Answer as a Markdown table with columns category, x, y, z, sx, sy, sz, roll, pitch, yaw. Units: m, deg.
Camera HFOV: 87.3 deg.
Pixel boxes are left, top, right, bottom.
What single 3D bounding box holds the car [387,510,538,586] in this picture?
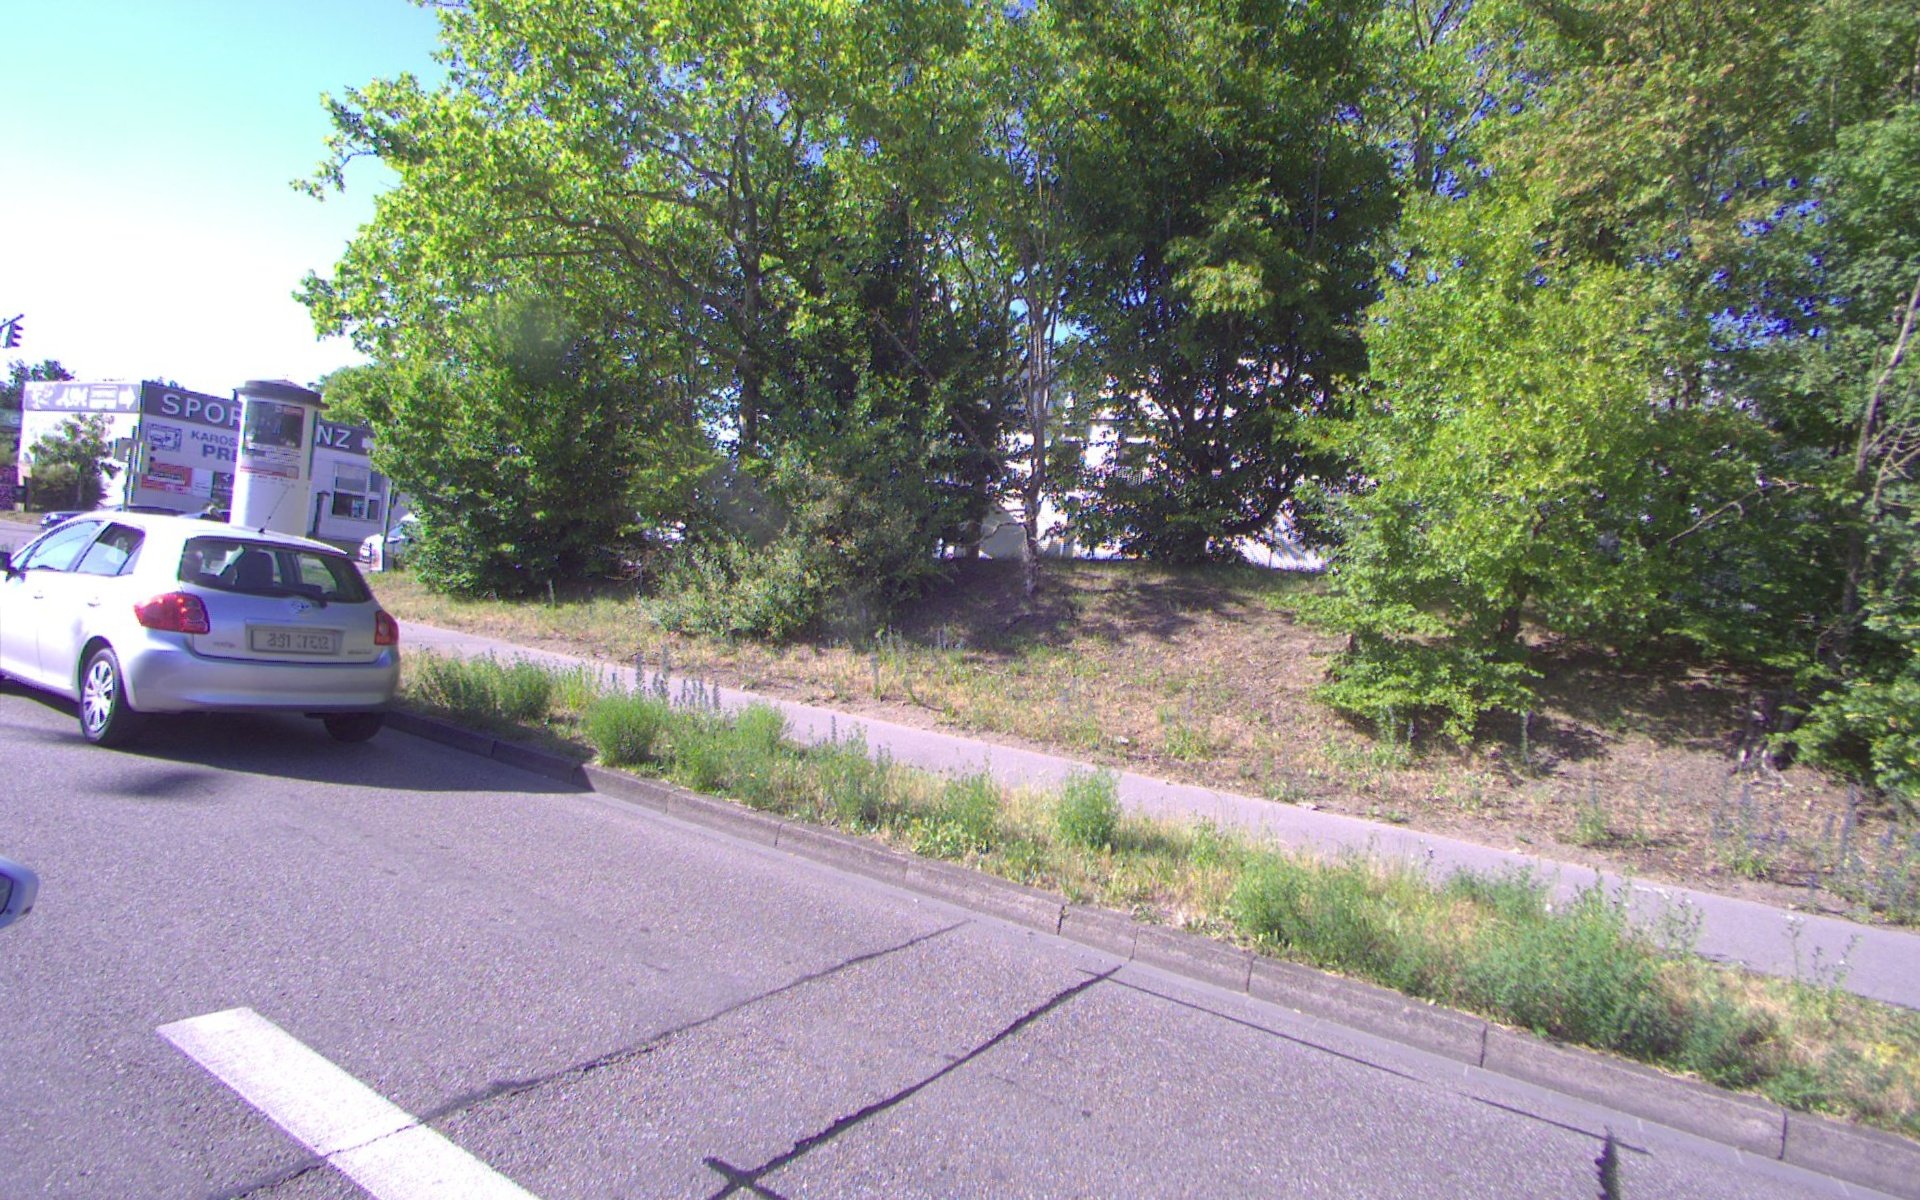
| category | x | y | z | sx | sy | sz | roll | pitch | yaw |
| --- | --- | --- | --- | --- | --- | --- | --- | --- | --- |
| car | -22.590 | -2.312 | 45.931 | 1.967 | 2.706 | 5.840 | 6 | 0 | 32 |

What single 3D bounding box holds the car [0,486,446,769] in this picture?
| category | x | y | z | sx | sy | sz | roll | pitch | yaw |
| --- | --- | --- | --- | --- | --- | --- | --- | --- | --- |
| car | -6.060 | 0.100 | 7.728 | 4.039 | 1.555 | 1.787 | 7 | -2 | 32 |

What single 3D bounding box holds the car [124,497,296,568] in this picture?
| category | x | y | z | sx | sy | sz | roll | pitch | yaw |
| --- | --- | --- | --- | --- | --- | --- | --- | --- | --- |
| car | -25.608 | -2.258 | 34.515 | 1.611 | 1.668 | 4.316 | 6 | -2 | 31 |

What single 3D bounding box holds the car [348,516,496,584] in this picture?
| category | x | y | z | sx | sy | sz | roll | pitch | yaw |
| --- | --- | --- | --- | --- | --- | --- | --- | --- | --- |
| car | -21.777 | -1.987 | 40.945 | 1.849 | 2.060 | 4.962 | 7 | -1 | 30 |

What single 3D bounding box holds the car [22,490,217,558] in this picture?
| category | x | y | z | sx | sy | sz | roll | pitch | yaw |
| --- | --- | --- | --- | --- | --- | --- | --- | --- | --- |
| car | -29.107 | -2.577 | 35.028 | 1.729 | 1.484 | 4.831 | 6 | -2 | 30 |

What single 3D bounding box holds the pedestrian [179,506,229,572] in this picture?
| category | x | y | z | sx | sy | sz | roll | pitch | yaw |
| --- | --- | --- | --- | --- | --- | --- | --- | --- | --- |
| pedestrian | -21.006 | -1.690 | 27.962 | 0.506 | 1.688 | 0.818 | 6 | -1 | 31 |
